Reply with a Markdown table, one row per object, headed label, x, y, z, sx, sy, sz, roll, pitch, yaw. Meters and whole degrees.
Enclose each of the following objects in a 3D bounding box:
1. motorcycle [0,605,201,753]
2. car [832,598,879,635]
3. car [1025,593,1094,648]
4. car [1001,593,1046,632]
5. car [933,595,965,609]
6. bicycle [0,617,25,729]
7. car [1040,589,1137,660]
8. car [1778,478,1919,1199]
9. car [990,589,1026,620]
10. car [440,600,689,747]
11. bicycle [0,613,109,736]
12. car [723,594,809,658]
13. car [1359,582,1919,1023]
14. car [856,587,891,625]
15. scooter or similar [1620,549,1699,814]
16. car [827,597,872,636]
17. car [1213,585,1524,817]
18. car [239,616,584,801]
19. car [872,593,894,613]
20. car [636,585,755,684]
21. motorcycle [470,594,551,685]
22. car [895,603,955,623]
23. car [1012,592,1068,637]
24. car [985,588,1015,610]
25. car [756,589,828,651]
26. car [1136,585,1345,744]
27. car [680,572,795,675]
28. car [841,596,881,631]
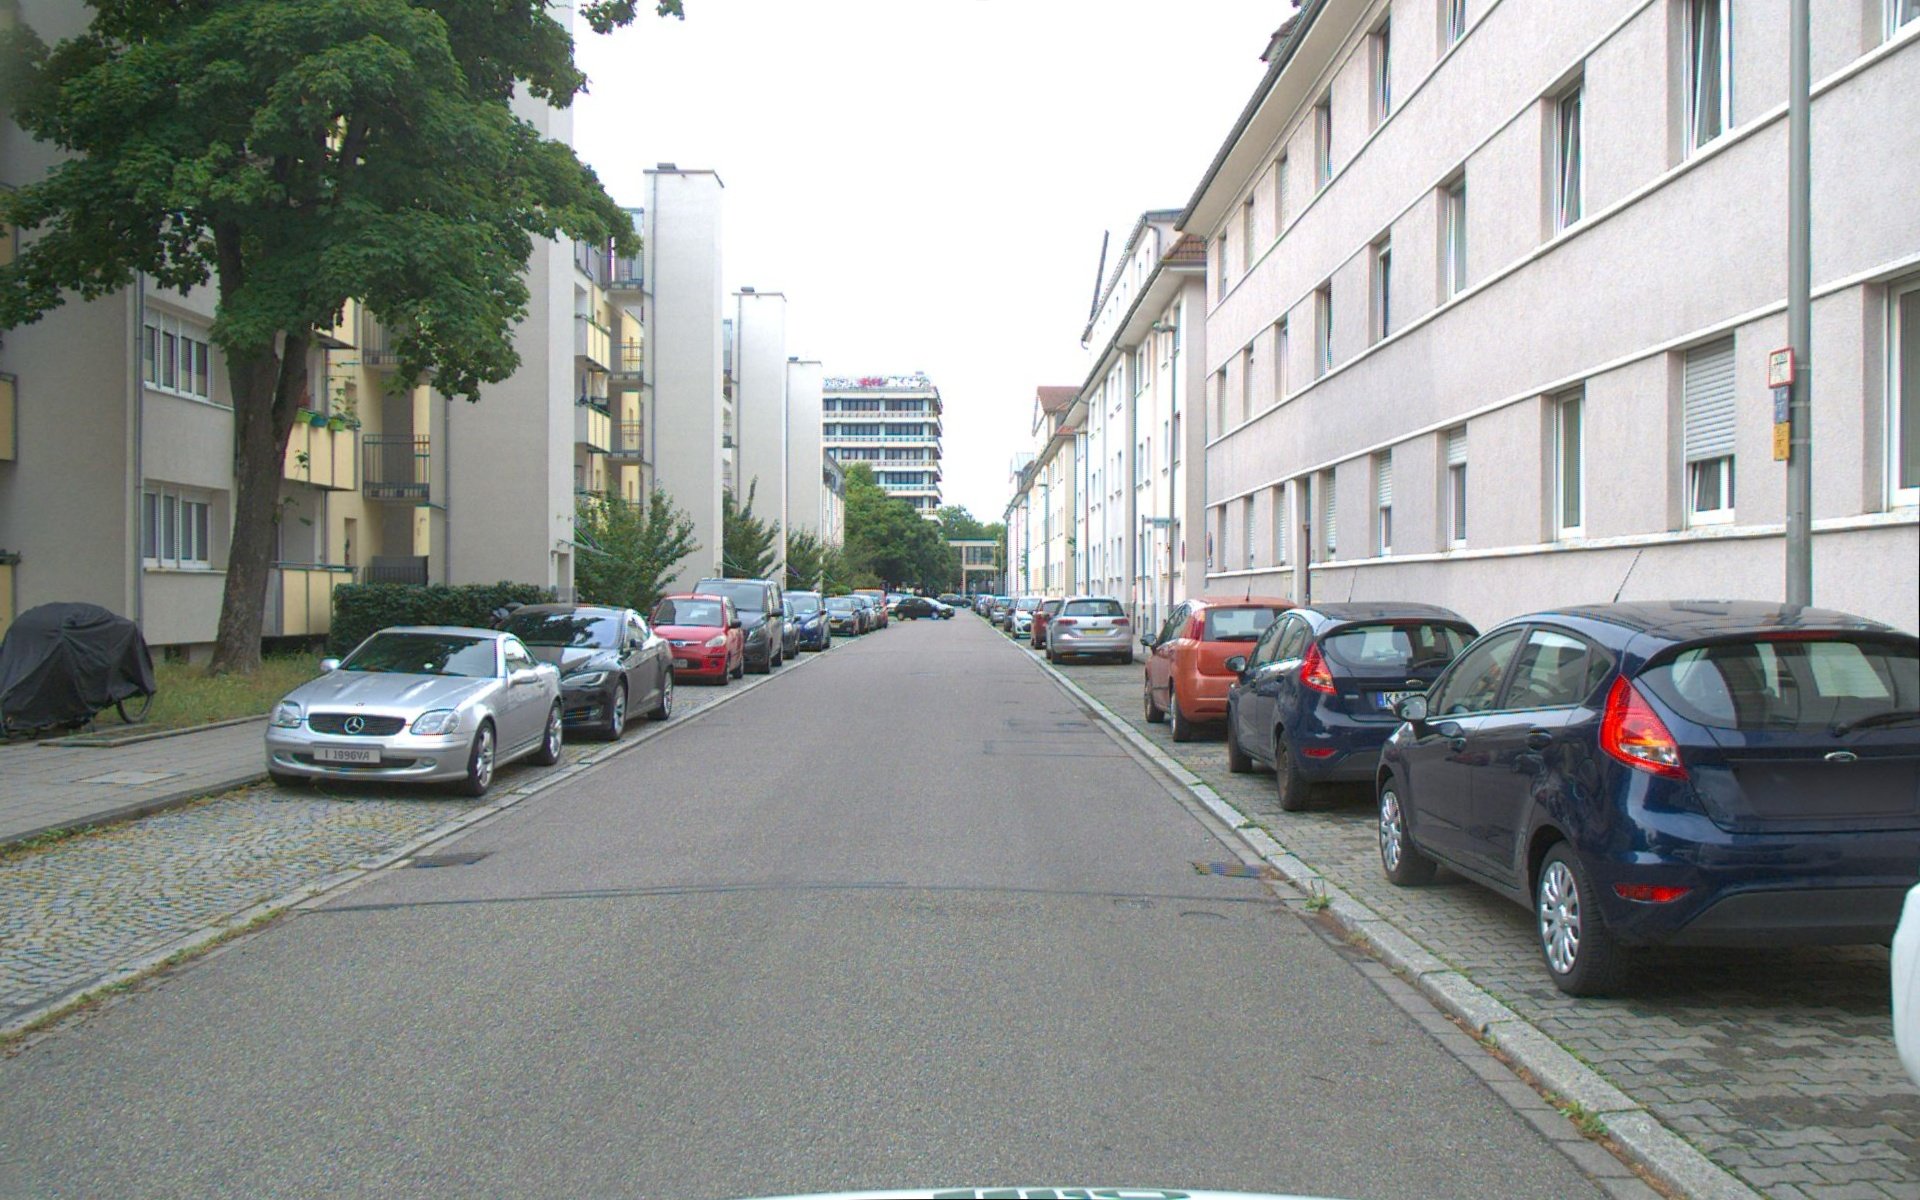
| label | x | y | z | sx | sy | sz | roll | pitch | yaw |
| --- | --- | --- | --- | --- | --- | --- | --- | --- | --- |
| motorcycle | -8.402 | 0.689 | 15.934 | 0.667 | 1.245 | 3.067 | 1 | 0 | 2 |
| car | -4.109 | 0.629 | 65.361 | 1.637 | 1.375 | 3.816 | 1 | 0 | 0 |
| car | 2.838 | 0.559 | 47.799 | 1.636 | 1.445 | 3.999 | -2 | 0 | -1 |
| car | 2.711 | 0.517 | 71.750 | 1.782 | 1.604 | 3.752 | 1 | 0 | 0 |
| car | -1.333 | 0.187 | 200.691 | 3.905 | 1.512 | 2.000 | 3 | 0 | 0 |
| bicycle | -9.944 | 0.741 | 16.202 | 0.540 | 1.120 | 1.775 | 0 | 0 | 1 |
| car | 2.842 | 0.510 | 37.455 | 1.719 | 1.493 | 4.599 | 1 | 0 | -1 |
| car | 3.119 | 0.573 | 2.209 | 1.805 | 1.703 | 4.288 | -1 | 1 | -2 |
| car | 2.569 | 0.243 | 88.387 | 1.782 | 1.604 | 3.884 | 1 | 0 | 0 |
| car | -4.520 | 0.765 | 19.650 | 1.804 | 1.446 | 4.629 | 2 | 0 | 0 |
| bicycle | -9.117 | 0.697 | 16.285 | 0.540 | 1.120 | 1.775 | 0 | 0 | 1 |
| car | -4.867 | 0.614 | 41.902 | 1.793 | 1.484 | 4.258 | 1 | 0 | -2 |
| car | 3.047 | 0.680 | 7.615 | 1.535 | 1.504 | 3.871 | -1 | 0 | 1 |
| car | -4.557 | 0.299 | 87.219 | 1.637 | 1.972 | 3.741 | 1 | 0 | 0 |
| scooter or similar | 5.563 | 0.634 | 13.149 | 0.340 | 2.049 | 0.675 | 2 | 0 | 38 |
| car | -4.681 | 0.684 | 70.412 | 1.637 | 1.591 | 3.664 | 1 | 0 | 0 |
| car | 3.032 | 0.669 | 12.985 | 1.535 | 1.499 | 3.696 | -2 | 0 | 1 |
| car | -4.622 | 0.841 | 14.573 | 1.662 | 1.280 | 4.015 | 2 | 0 | 0 |
| car | -5.968 | 0.192 | 127.953 | 1.507 | 1.475 | 3.741 | 1 | 0 | 0 |
| car | -4.668 | 0.572 | 29.623 | 1.531 | 1.596 | 3.641 | 3 | 0 | -1 |
| motorcycle | -7.278 | 0.604 | 26.871 | 0.663 | 1.379 | 2.229 | 2 | 0 | 0 |
| car | -2.257 | 0.857 | 107.973 | 3.649 | 1.235 | 1.545 | 1 | 0 | 12 |
| car | 2.826 | 0.506 | 59.211 | 1.782 | 1.531 | 3.752 | 1 | 0 | 0 |
| car | 2.792 | -0.058 | 116.012 | 1.953 | 1.422 | 4.000 | 2 | 0 | -1 |
| car | -4.753 | 0.525 | 47.298 | 1.734 | 1.672 | 4.353 | 1 | 0 | -2 |
| car | 3.005 | 0.630 | 18.432 | 1.662 | 1.552 | 3.826 | -1 | 0 | 0 |
| car | -4.609 | 0.429 | 34.873 | 1.841 | 1.937 | 5.029 | 2 | 0 | -2 |
| car | -4.583 | 0.622 | 76.962 | 1.637 | 1.552 | 4.252 | 1 | 0 | 0 |
